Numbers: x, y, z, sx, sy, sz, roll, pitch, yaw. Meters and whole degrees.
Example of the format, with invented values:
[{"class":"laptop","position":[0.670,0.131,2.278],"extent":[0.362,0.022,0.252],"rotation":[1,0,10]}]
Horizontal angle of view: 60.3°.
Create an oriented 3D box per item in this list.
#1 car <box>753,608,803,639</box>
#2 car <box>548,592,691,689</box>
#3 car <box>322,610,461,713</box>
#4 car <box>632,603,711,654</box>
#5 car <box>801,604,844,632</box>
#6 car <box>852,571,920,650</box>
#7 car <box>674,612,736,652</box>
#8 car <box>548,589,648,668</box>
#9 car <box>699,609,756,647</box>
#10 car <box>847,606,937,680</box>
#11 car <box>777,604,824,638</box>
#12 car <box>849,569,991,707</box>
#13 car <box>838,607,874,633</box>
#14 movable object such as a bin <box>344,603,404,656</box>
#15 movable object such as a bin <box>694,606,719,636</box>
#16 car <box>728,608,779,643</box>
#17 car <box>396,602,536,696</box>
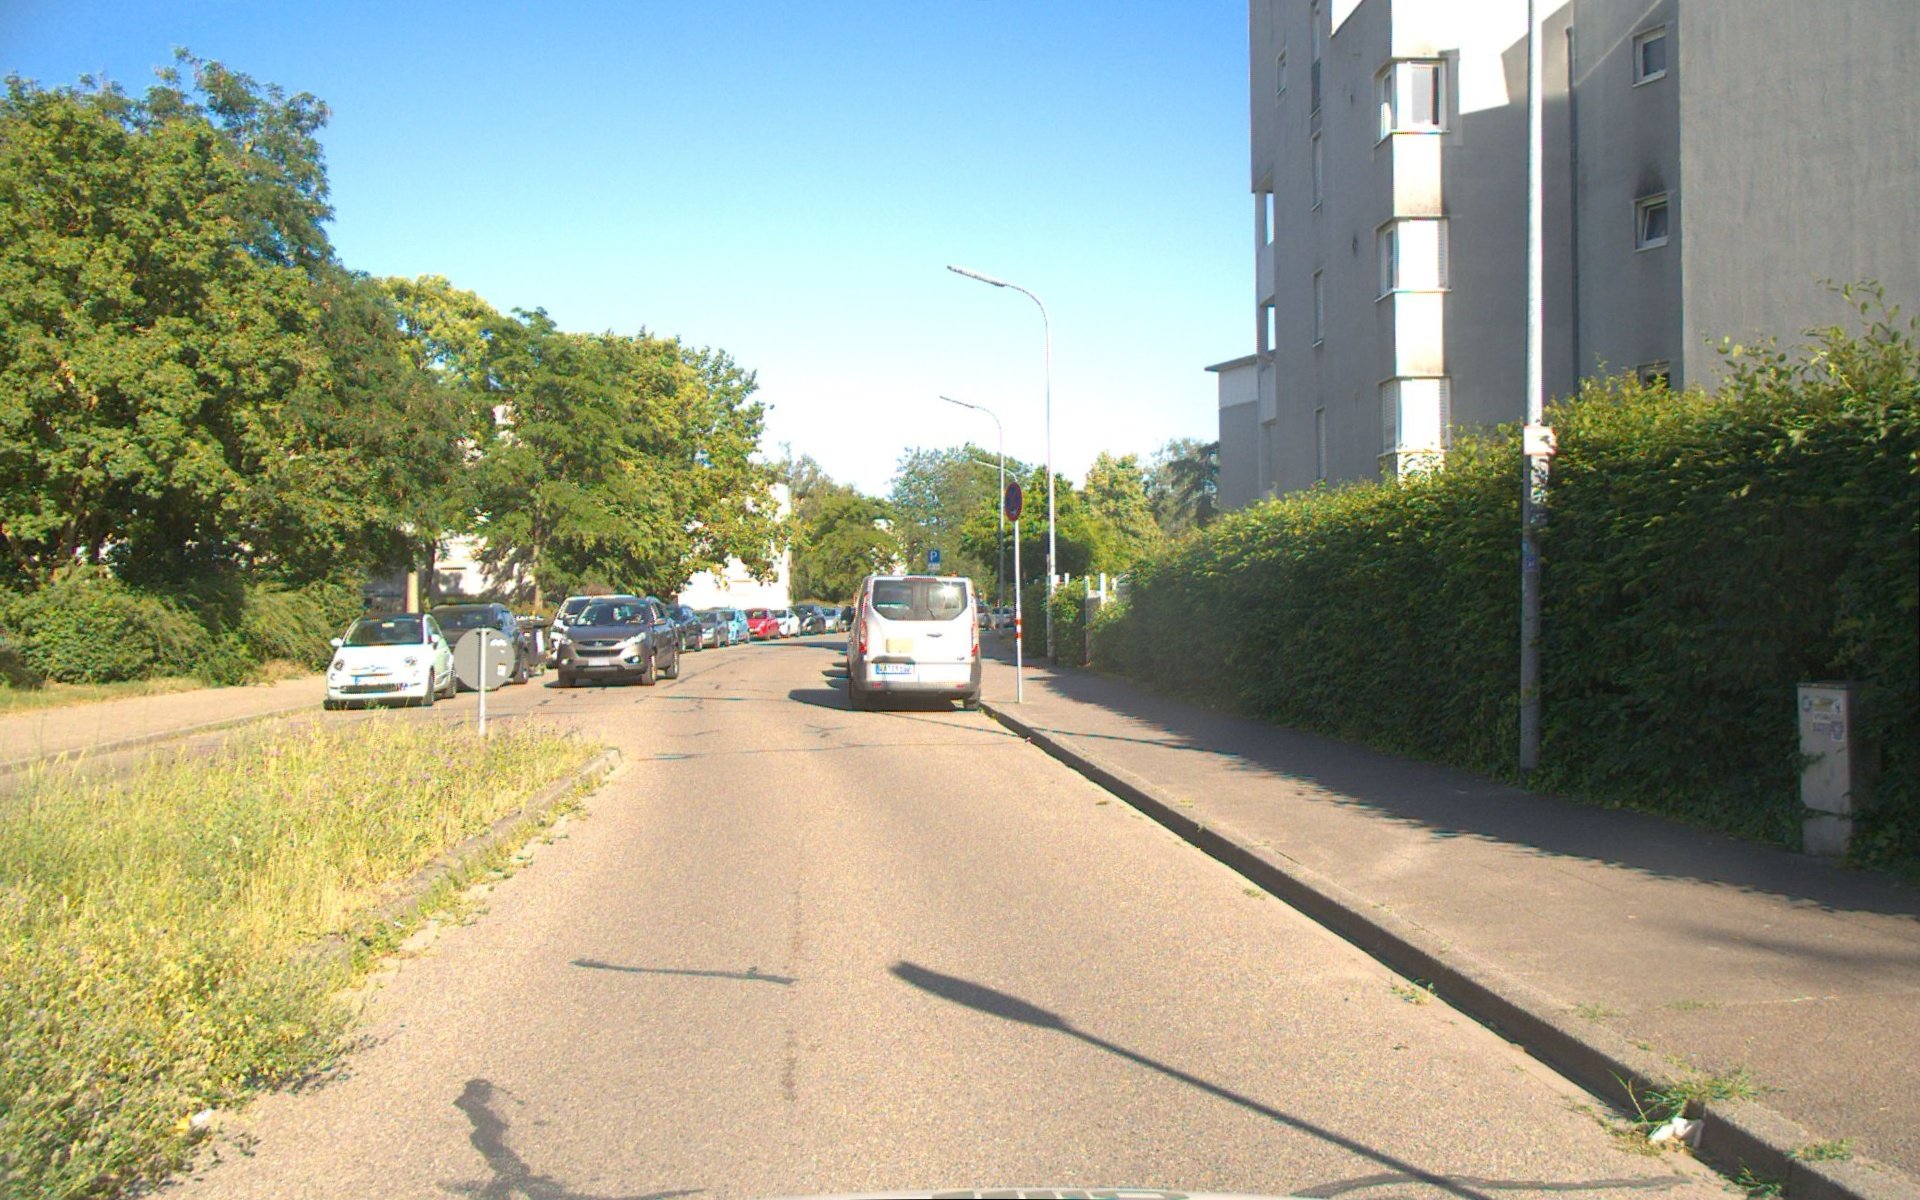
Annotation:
[{"class":"car","position":[-8.972,1.133,81.784],"extent":[1.635,1.446,3.903],"rotation":[-2,0,5]},{"class":"car","position":[-6.653,0.753,32.786],"extent":[1.873,1.735,4.185],"rotation":[-2,0,1]},{"class":"car","position":[-9.393,0.965,27.549],"extent":[1.596,1.554,3.412],"rotation":[-1,0,-9]},{"class":"car","position":[-9.916,0.937,57.099],"extent":[1.712,1.646,4.364],"rotation":[-1,0,3]},{"class":"car","position":[-7.882,1.039,94.942],"extent":[1.625,1.512,4.055],"rotation":[-2,0,7]},{"class":"car","position":[-2.474,0.367,56.979],"extent":[2.061,2.530,5.855],"rotation":[1,0,0]},{"class":"car","position":[-9.823,1.211,63.990],"extent":[1.636,1.462,4.000],"rotation":[-2,0,1]},{"class":"car","position":[-9.819,0.736,45.152],"extent":[1.826,1.995,4.668],"rotation":[-1,0,-2]},{"class":"car","position":[-9.740,1.142,69.429],"extent":[1.635,1.500,3.679],"rotation":[-2,0,3]},{"class":"car","position":[-1.533,0.909,36.712],"extent":[1.871,1.514,4.372],"rotation":[-1,0,-3]},{"class":"car","position":[-8.486,1.107,88.459],"extent":[1.635,1.696,4.409],"rotation":[-2,0,5]},{"class":"car","position":[-0.742,0.559,26.228],"extent":[1.954,1.946,4.948],"rotation":[-1,0,-5]},{"class":"car","position":[-6.269,1.181,100.224],"extent":[1.625,1.451,4.051],"rotation":[-2,0,3]},{"class":"movable object such as a bin","position":[-16.212,0.809,45.787],"extent":[1.251,1.426,1.261],"rotation":[-1,-1,-5]},{"class":"movable object such as a bin","position":[-12.579,1.027,82.079],"extent":[0.967,1.443,1.315],"rotation":[-1,0,1]},{"class":"car","position":[-9.477,1.148,76.160],"extent":[1.635,1.500,3.679],"rotation":[-2,0,3]},{"class":"car","position":[-9.633,0.903,32.537],"extent":[1.641,1.667,4.247],"rotation":[-2,0,-3]}]
